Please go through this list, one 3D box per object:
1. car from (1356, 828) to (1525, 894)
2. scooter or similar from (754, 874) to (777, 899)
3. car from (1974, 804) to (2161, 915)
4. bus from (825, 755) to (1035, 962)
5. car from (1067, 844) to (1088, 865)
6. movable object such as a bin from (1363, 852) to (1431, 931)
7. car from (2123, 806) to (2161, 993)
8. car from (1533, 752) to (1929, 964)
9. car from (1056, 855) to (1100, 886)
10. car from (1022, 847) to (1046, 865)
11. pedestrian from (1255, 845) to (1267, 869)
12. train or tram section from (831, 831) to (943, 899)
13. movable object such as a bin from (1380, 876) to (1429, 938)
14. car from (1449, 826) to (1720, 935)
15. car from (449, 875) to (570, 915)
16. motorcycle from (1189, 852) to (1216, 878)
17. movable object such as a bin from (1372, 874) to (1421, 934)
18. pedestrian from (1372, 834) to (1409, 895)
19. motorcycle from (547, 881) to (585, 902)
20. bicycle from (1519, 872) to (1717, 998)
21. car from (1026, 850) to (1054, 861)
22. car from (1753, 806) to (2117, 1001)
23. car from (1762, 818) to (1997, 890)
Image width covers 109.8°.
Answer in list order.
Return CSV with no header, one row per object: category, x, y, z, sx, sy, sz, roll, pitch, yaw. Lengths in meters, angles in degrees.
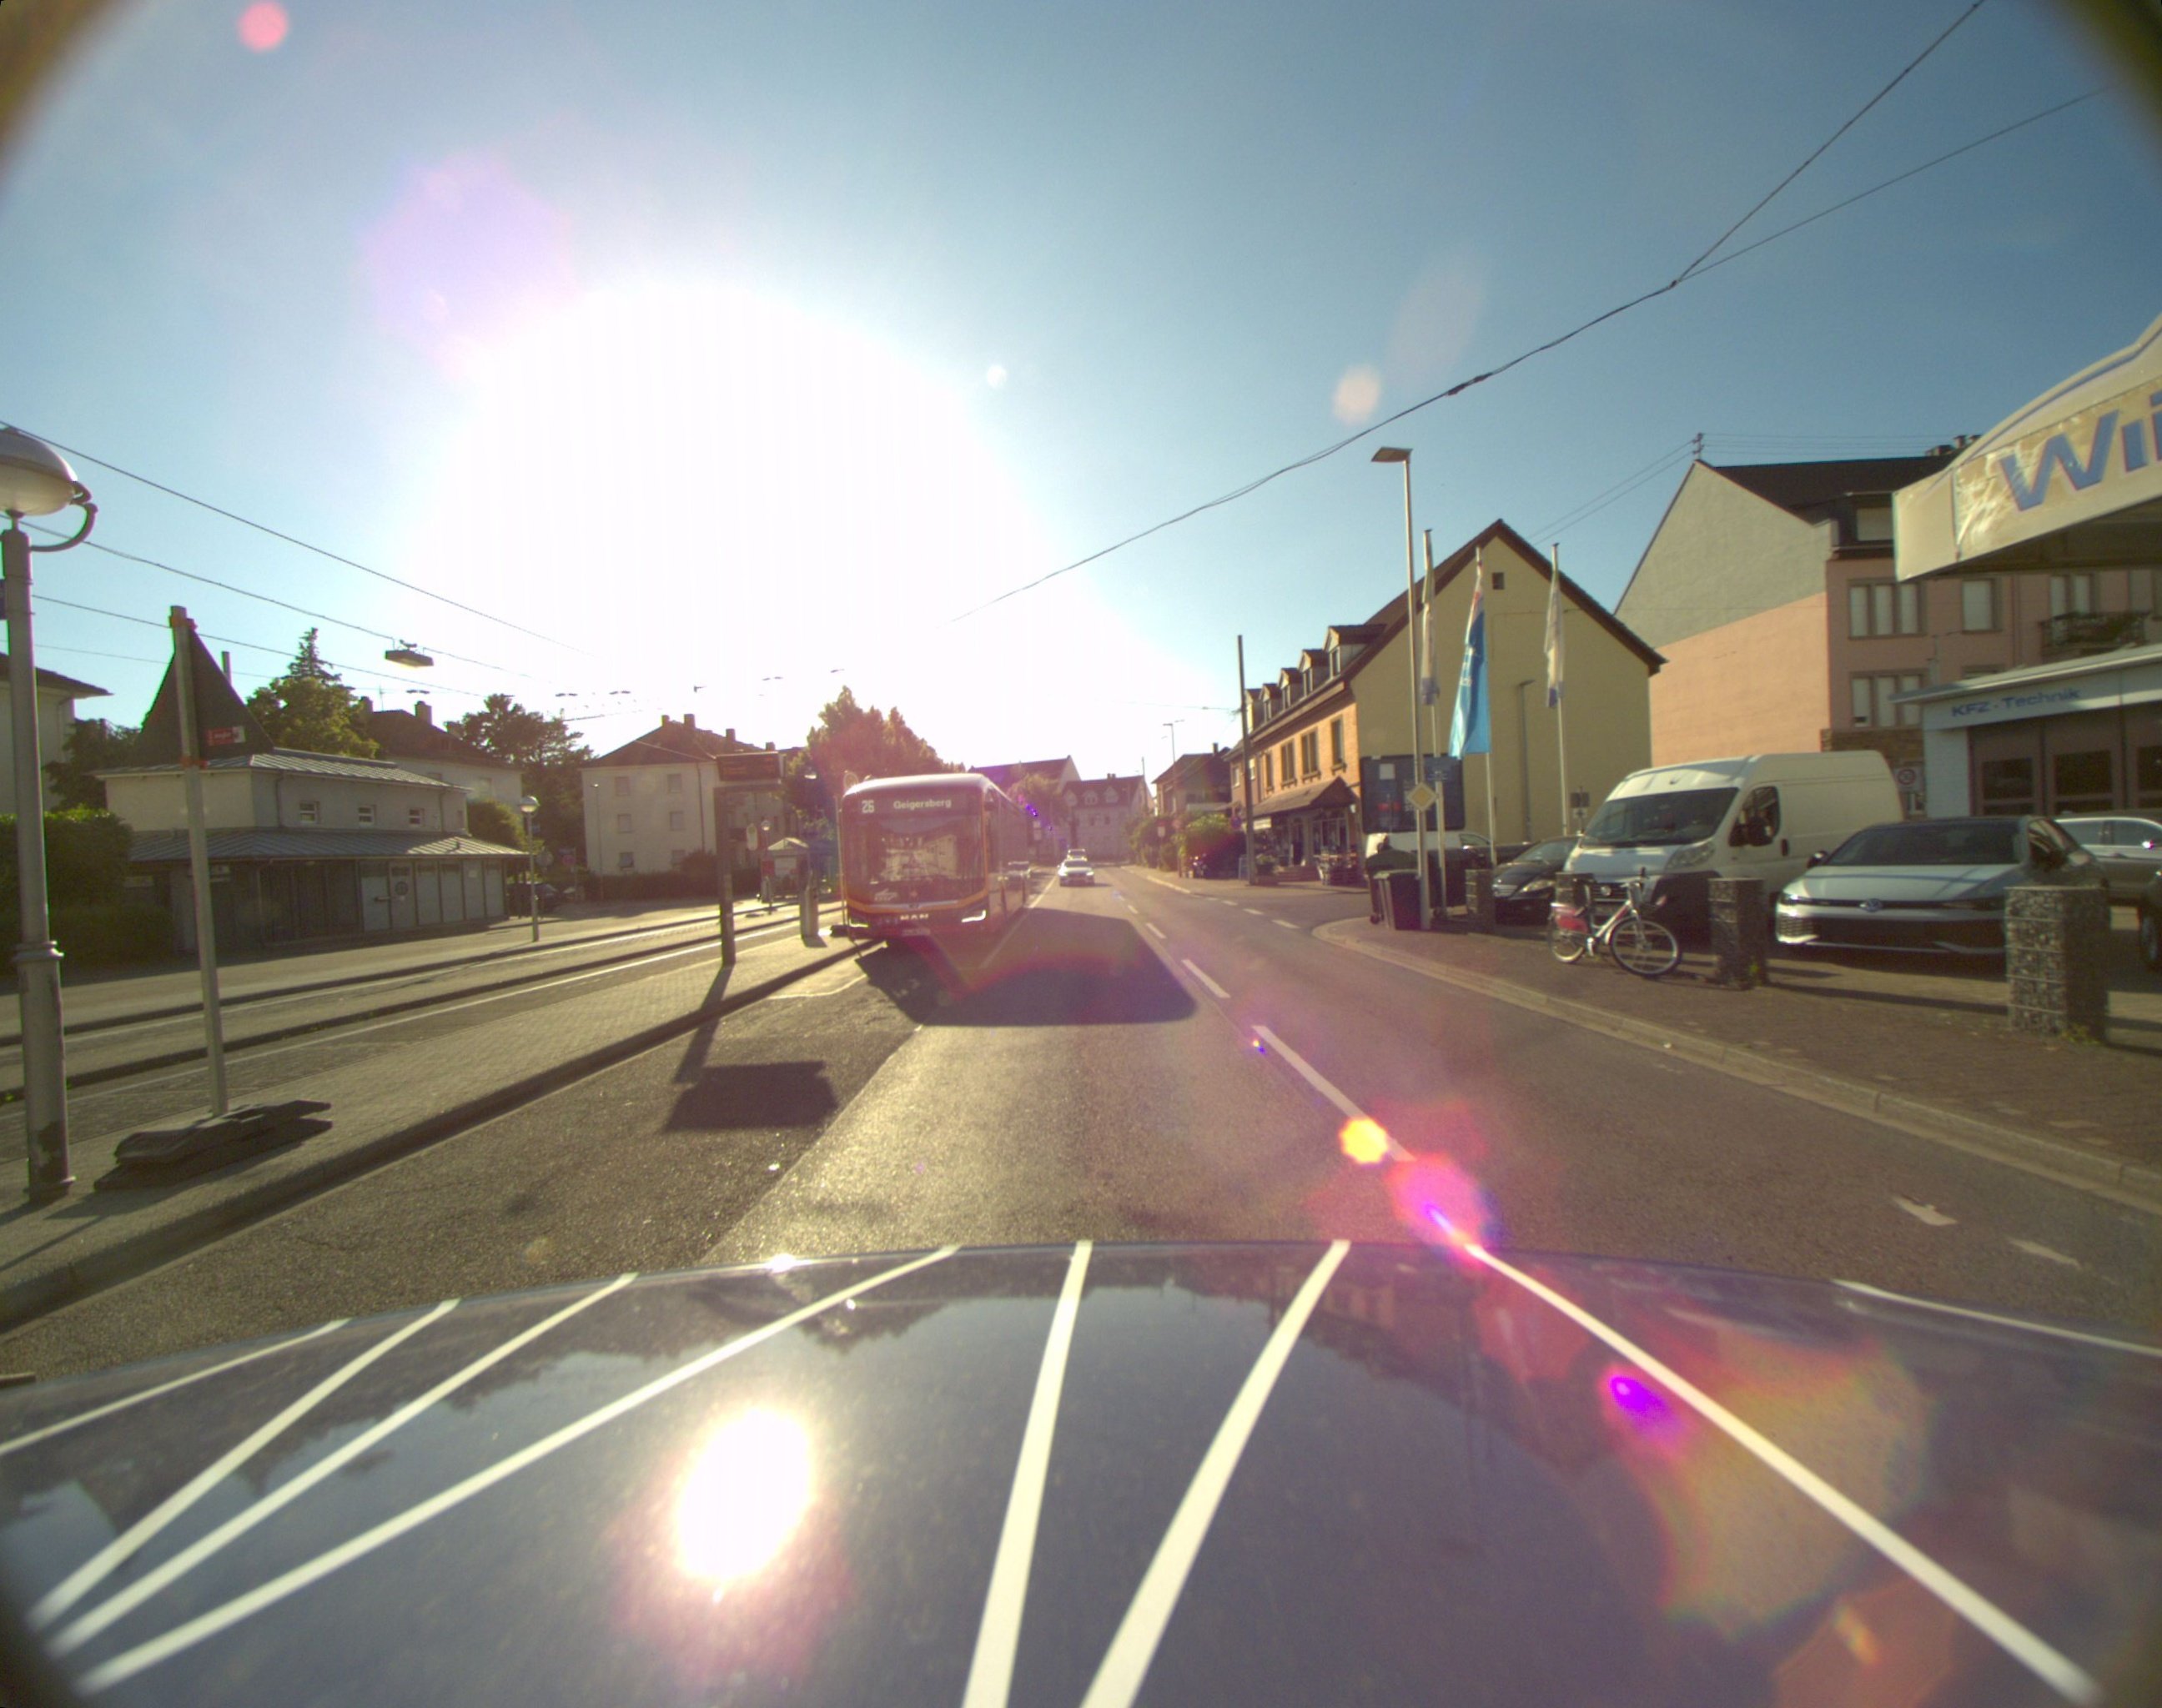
car,11.836,0.209,25.252,4.627,1.922,1.999,-3,1,-2
scooter or similar,-16.325,1.688,39.330,0.467,1.201,1.210,-2,1,11
car,16.427,0.044,11.017,1.772,1.559,4.315,-4,0,-1
bus,-2.929,0.072,18.936,2.695,3.396,12.017,-3,0,0
car,-0.440,0.029,77.734,1.871,1.922,4.791,-4,0,-2
movable object such as a bin,6.368,0.750,15.269,1.056,1.473,1.315,-4,-3,28
car,9.104,0.397,5.251,1.617,1.559,3.400,-2,1,43
car,9.271,-0.063,10.845,5.076,2.455,2.105,-4,1,-22
car,-0.108,0.870,41.540,1.998,1.454,4.450,-3,0,4
car,-4.774,0.207,77.643,1.998,1.664,4.000,-2,0,1
pedestrian,9.667,0.174,40.847,0.524,1.251,0.465,-3,1,1
train or tram section,-11.741,0.381,48.245,2.965,3.514,15.964,-2,1,0
movable object such as a bin,5.779,0.936,13.597,0.641,1.063,0.581,-3,-2,12
car,9.025,0.429,13.714,4.001,1.559,1.771,-4,0,-14
car,-27.936,1.985,37.246,4.448,1.759,2.000,-2,1,4
motorcycle,6.257,0.553,39.351,0.841,1.275,2.231,-4,1,-3
movable object such as a bin,5.892,0.927,14.223,0.661,1.056,0.585,-5,-1,12
pedestrian,9.743,0.331,23.955,0.794,1.857,0.820,-3,1,2
motorcycle,-31.177,2.252,46.025,1.826,1.155,0.558,-3,1,-3
bicycle,5.878,0.823,8.467,0.725,1.171,1.779,-3,1,-9
car,-6.610,0.266,121.348,4.196,1.454,1.610,-4,0,31
car,9.347,0.393,8.269,4.005,1.559,1.769,-4,0,-29
car,20.720,-0.041,19.876,3.997,1.517,1.998,-3,5,0
